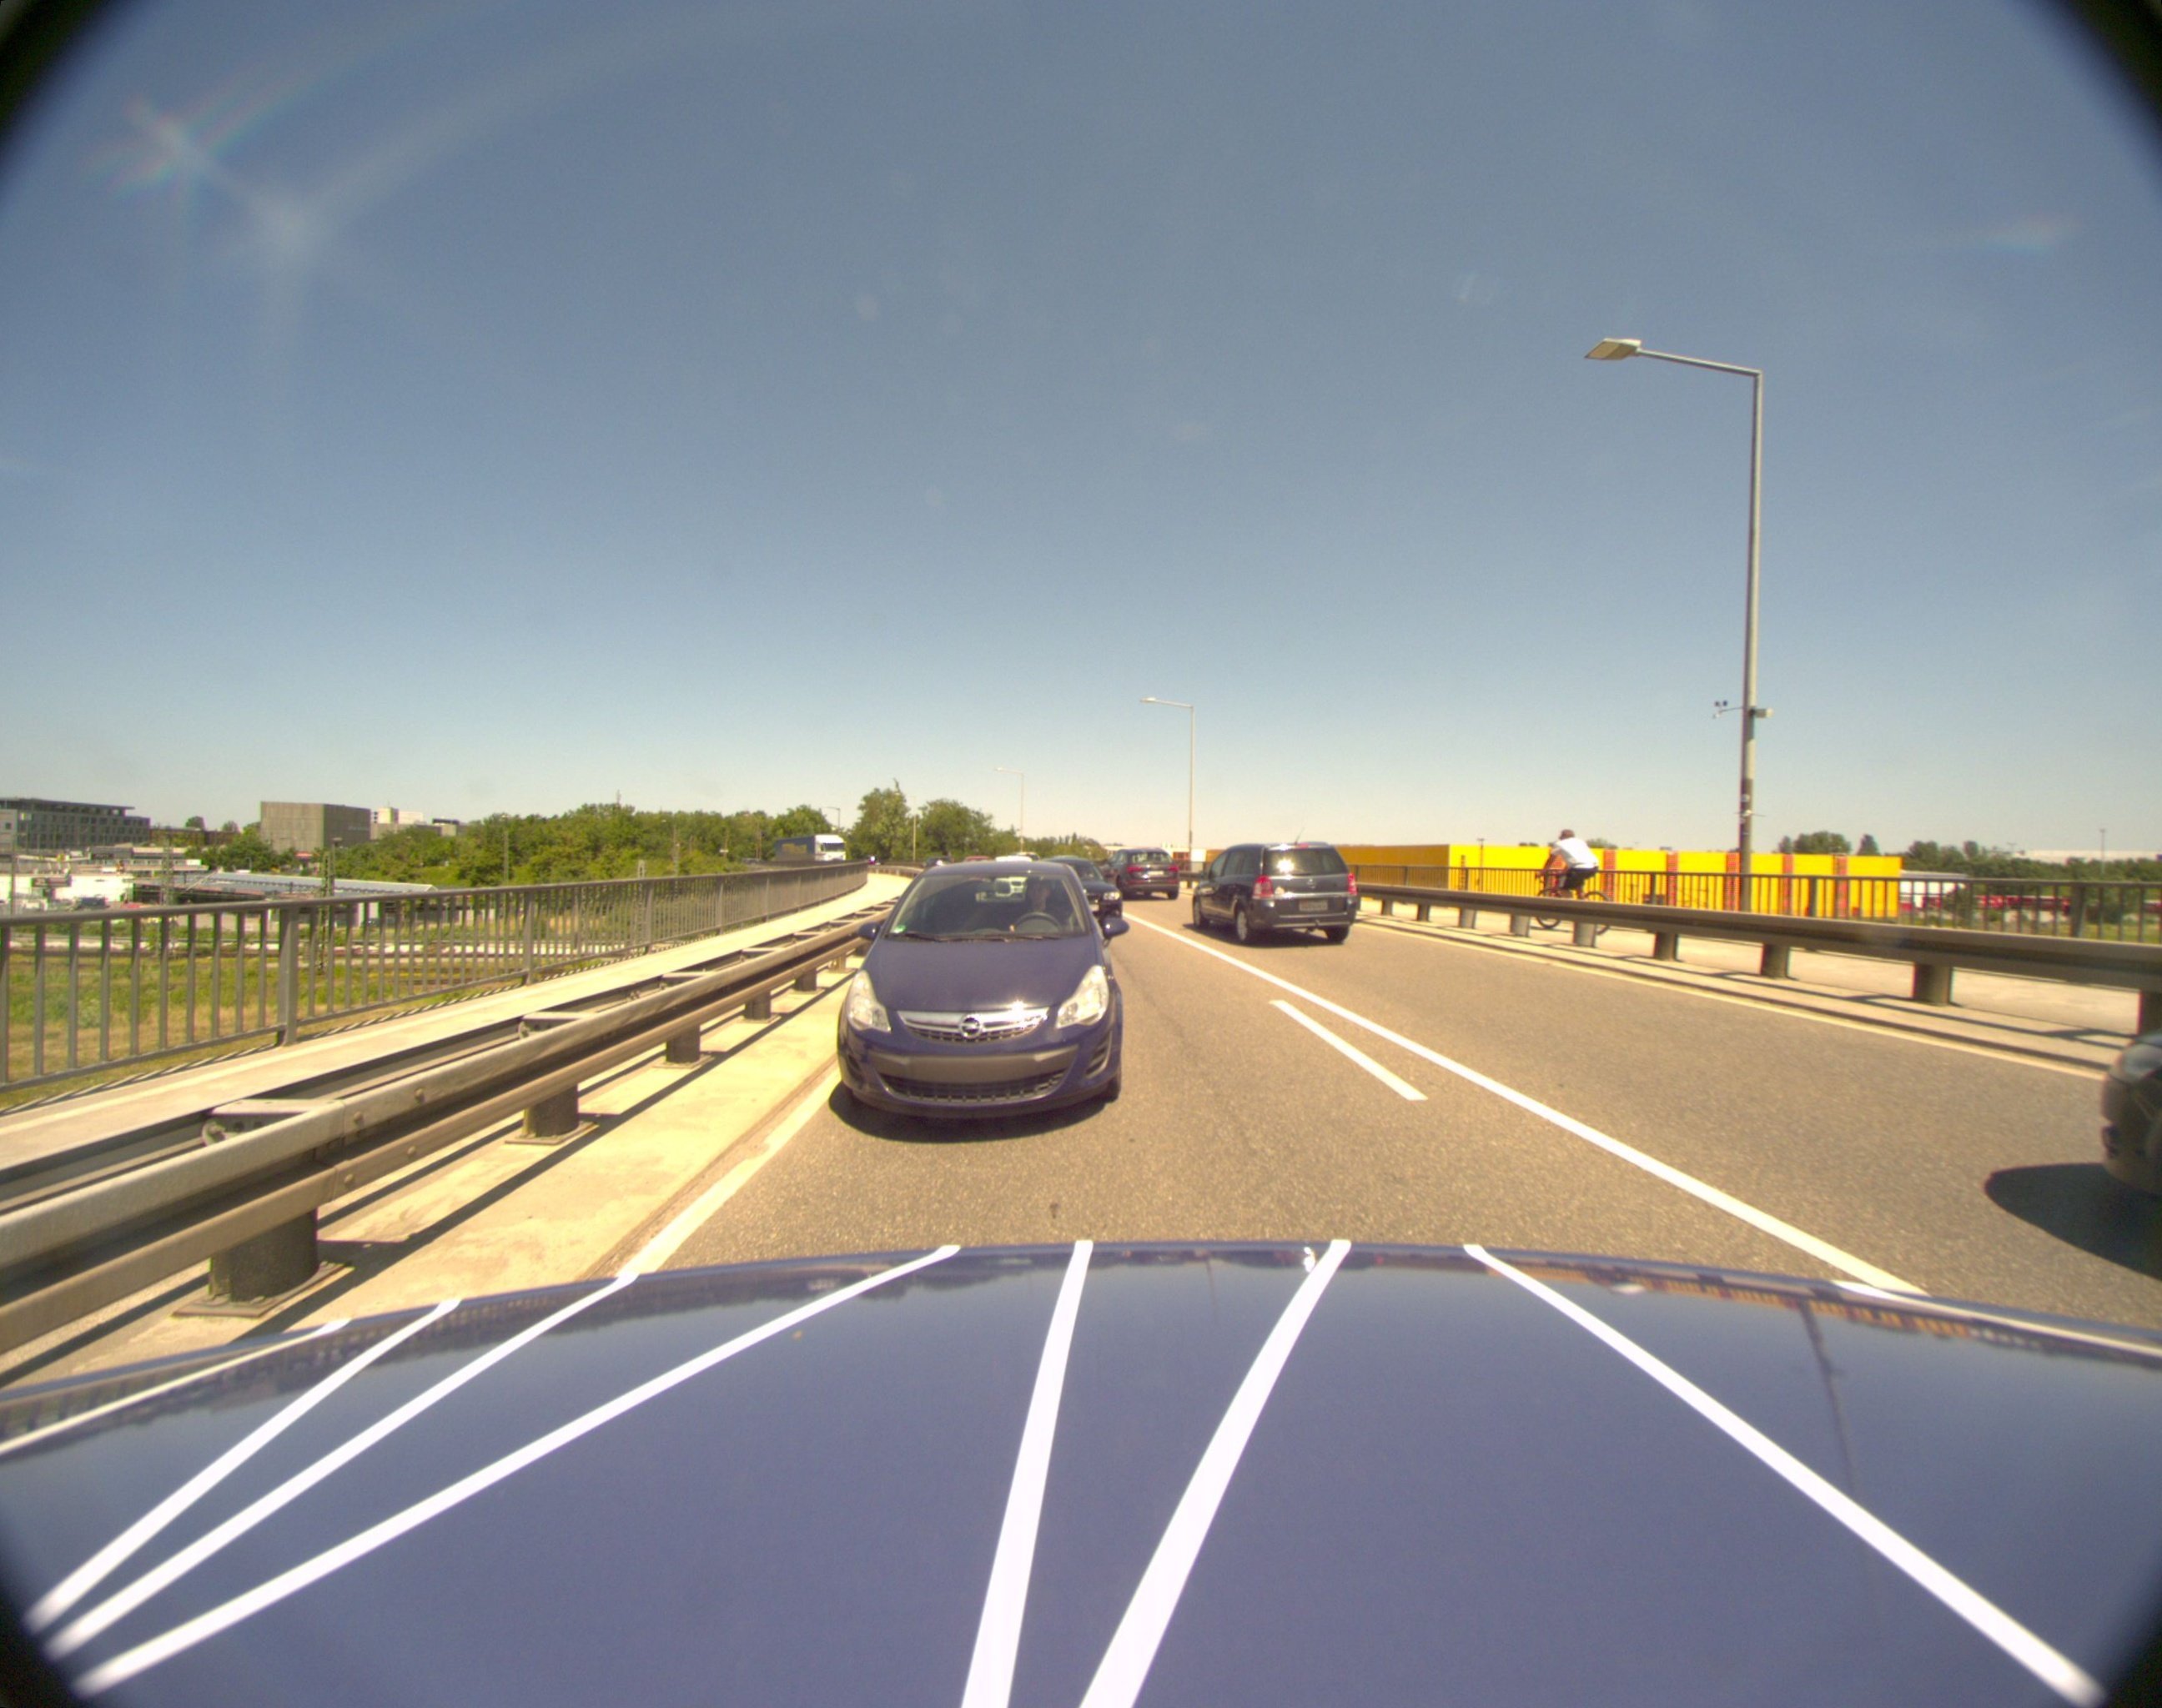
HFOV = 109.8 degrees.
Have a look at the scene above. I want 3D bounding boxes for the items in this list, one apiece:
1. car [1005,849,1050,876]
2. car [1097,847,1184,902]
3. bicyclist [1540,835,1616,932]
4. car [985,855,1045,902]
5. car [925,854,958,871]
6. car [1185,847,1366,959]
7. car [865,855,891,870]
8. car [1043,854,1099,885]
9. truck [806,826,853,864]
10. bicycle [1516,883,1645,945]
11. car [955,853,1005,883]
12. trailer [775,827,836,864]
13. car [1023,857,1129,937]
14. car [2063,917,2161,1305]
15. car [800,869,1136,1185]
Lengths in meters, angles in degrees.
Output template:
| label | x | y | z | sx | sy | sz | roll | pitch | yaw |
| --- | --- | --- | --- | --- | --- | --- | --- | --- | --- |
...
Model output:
| label | x | y | z | sx | sy | sz | roll | pitch | yaw |
| --- | --- | --- | --- | --- | --- | --- | --- | --- | --- |
| car | -3.387 | 0.518 | 47.391 | 1.744 | 1.571 | 4.169 | -1 | 1 | -19 |
| car | 1.856 | 0.618 | 25.144 | 1.807 | 1.631 | 4.296 | -1 | 0 | -11 |
| bicyclist | 8.140 | 0.465 | 12.470 | 0.585 | 1.512 | 0.895 | -1 | 1 | -8 |
| car | -2.427 | 0.791 | 27.127 | 1.795 | 1.447 | 4.519 | -2 | 1 | -9 |
| car | -12.195 | 0.694 | 66.159 | 1.780 | 1.430 | 4.383 | -1 | 1 | -24 |
| car | 3.192 | 0.717 | 13.410 | 1.712 | 1.617 | 4.250 | -1 | 0 | -6 |
| car | -22.675 | 0.886 | 84.715 | 1.781 | 1.616 | 4.243 | -1 | 1 | -30 |
| car | -0.555 | 0.698 | 36.793 | 1.703 | 1.368 | 3.994 | -1 | 1 | -16 |
| truck | -28.761 | -1.002 | 86.614 | 2.701 | 4.205 | 6.820 | -4 | 2 | -39 |
| bicycle | 8.152 | 0.949 | 12.513 | 0.590 | 0.828 | 1.989 | -1 | 1 | -8 |
| car | -5.406 | 0.688 | 40.331 | 1.797 | 1.446 | 4.515 | -1 | 0 | -18 |
| trailer | -33.774 | -0.959 | 92.660 | 2.707 | 4.211 | 12.677 | -3 | 2 | -40 |
| car | -0.266 | 0.826 | 16.957 | 1.795 | 1.447 | 4.519 | -2 | 1 | -7 |
| car | 4.584 | 0.888 | 0.896 | 1.683 | 1.300 | 3.972 | -1 | 0 | -2 |
| car | -0.679 | 0.906 | 5.840 | 1.645 | 1.431 | 3.998 | -2 | 1 | -4 |
